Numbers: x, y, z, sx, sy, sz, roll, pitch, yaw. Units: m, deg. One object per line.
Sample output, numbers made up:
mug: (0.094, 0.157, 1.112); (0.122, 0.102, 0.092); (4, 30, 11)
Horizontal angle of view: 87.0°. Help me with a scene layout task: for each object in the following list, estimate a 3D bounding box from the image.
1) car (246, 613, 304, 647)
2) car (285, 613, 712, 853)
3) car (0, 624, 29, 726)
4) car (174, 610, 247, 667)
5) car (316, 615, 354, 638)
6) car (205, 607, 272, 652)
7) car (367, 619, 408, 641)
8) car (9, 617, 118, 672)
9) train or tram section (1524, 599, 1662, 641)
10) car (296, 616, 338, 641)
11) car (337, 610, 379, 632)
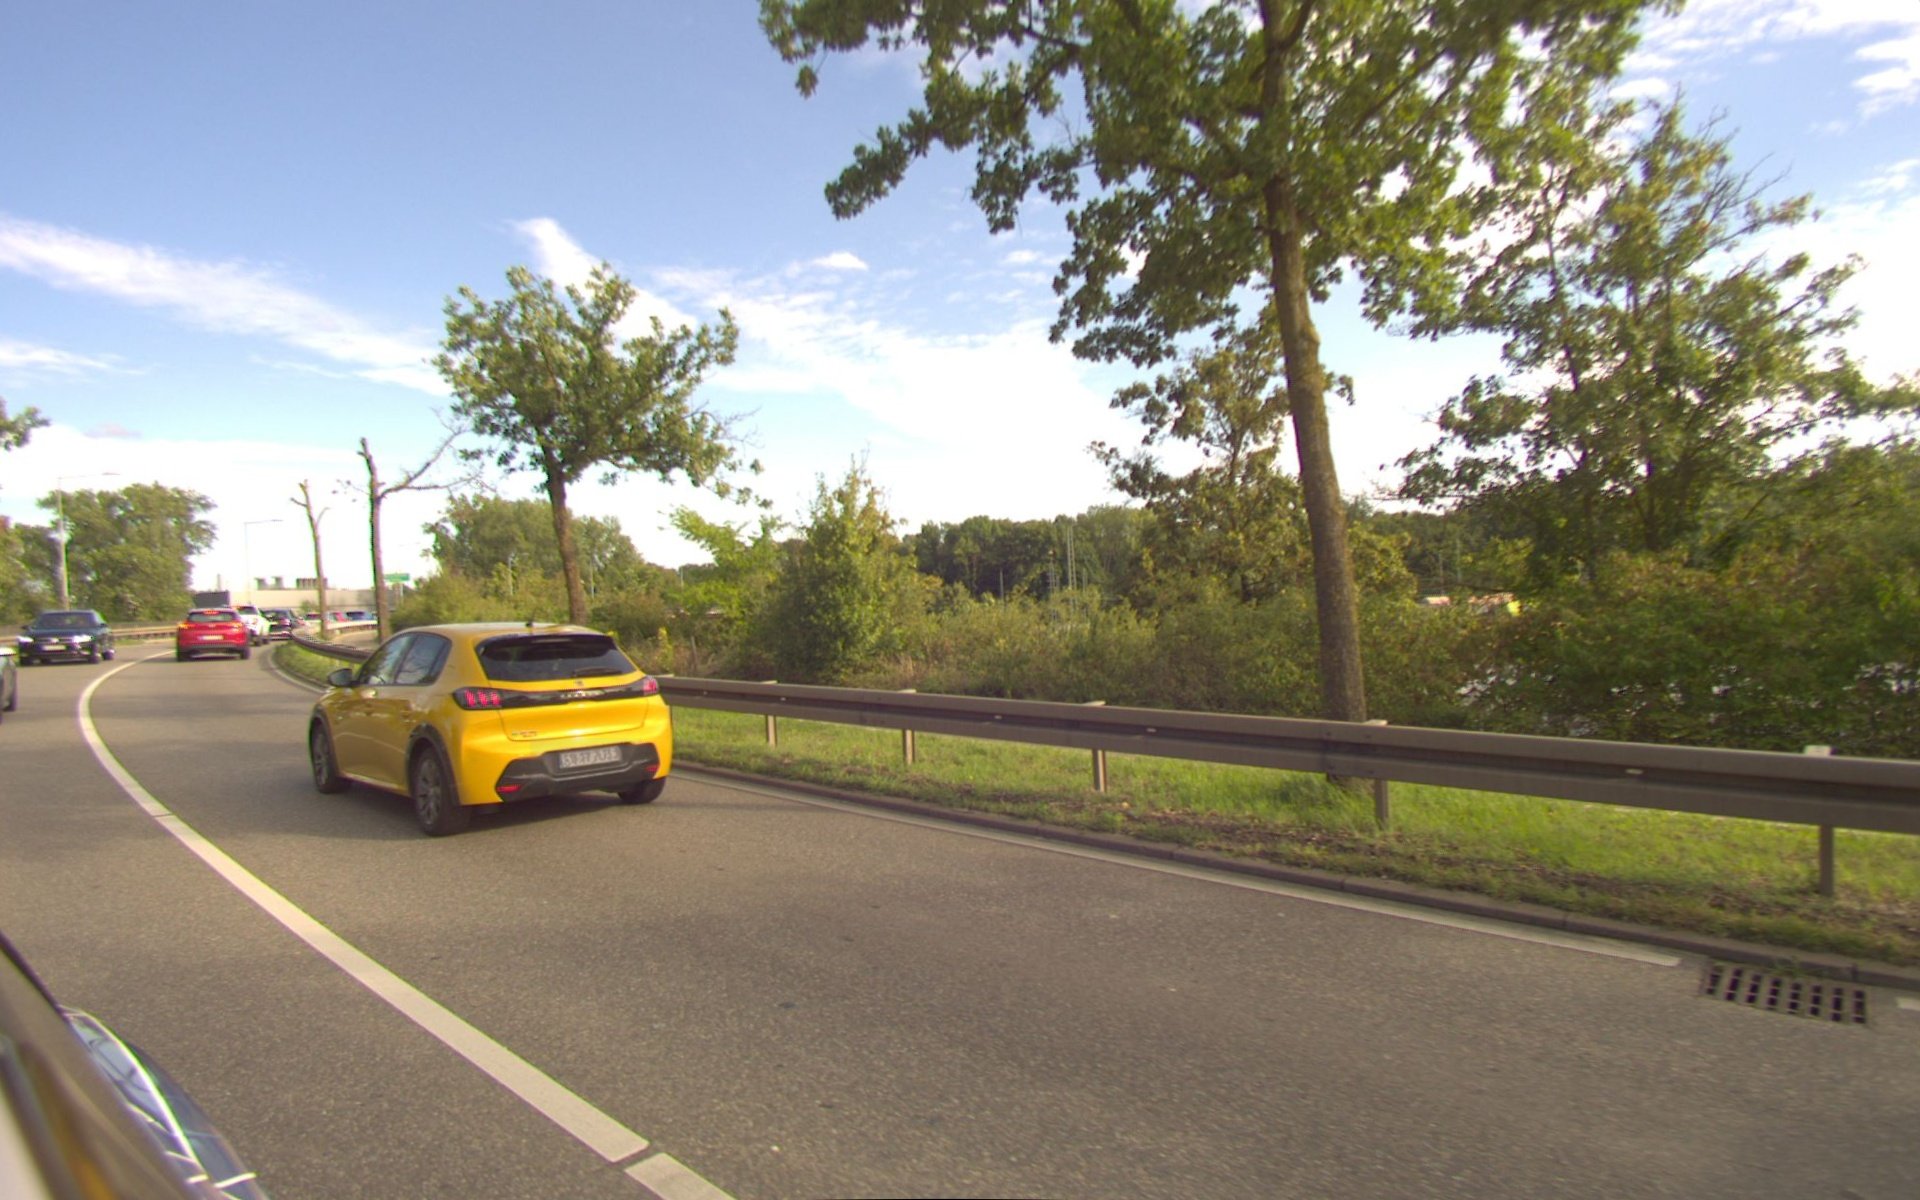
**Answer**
car: (-35.872, 1.537, 53.098); (1.863, 1.661, 4.657); (-1, 0, -26)
car: (-3.868, 0.852, 8.176); (3.872, 1.436, 1.780); (-1, 0, 43)
car: (-14.965, 1.079, 14.717); (1.759, 1.415, 3.979); (-1, 0, -38)
car: (-24.332, 1.191, 32.916); (1.785, 1.687, 4.308); (-1, 0, -36)
car: (-42.623, 1.774, 69.070); (1.576, 1.475, 3.749); (-1, 0, -22)
car: (-31.621, 1.234, 44.496); (1.874, 1.824, 5.420); (-1, 0, -30)
car: (-47.614, 2.472, 84.255); (1.899, 1.661, 4.601); (-1, 0, -15)
car: (-27.618, 1.307, 31.315); (1.789, 1.518, 4.404); (-1, 0, -32)
train or tram section: (80.258, 2.488, 128.330); (16.485, 4.748, 3.102); (-1, 0, -7)
car: (-39.670, 1.728, 62.533); (1.576, 1.475, 3.749); (-1, 0, -23)
car: (-44.449, 1.507, 74.742); (1.774, 1.531, 4.020); (-1, 0, -17)
